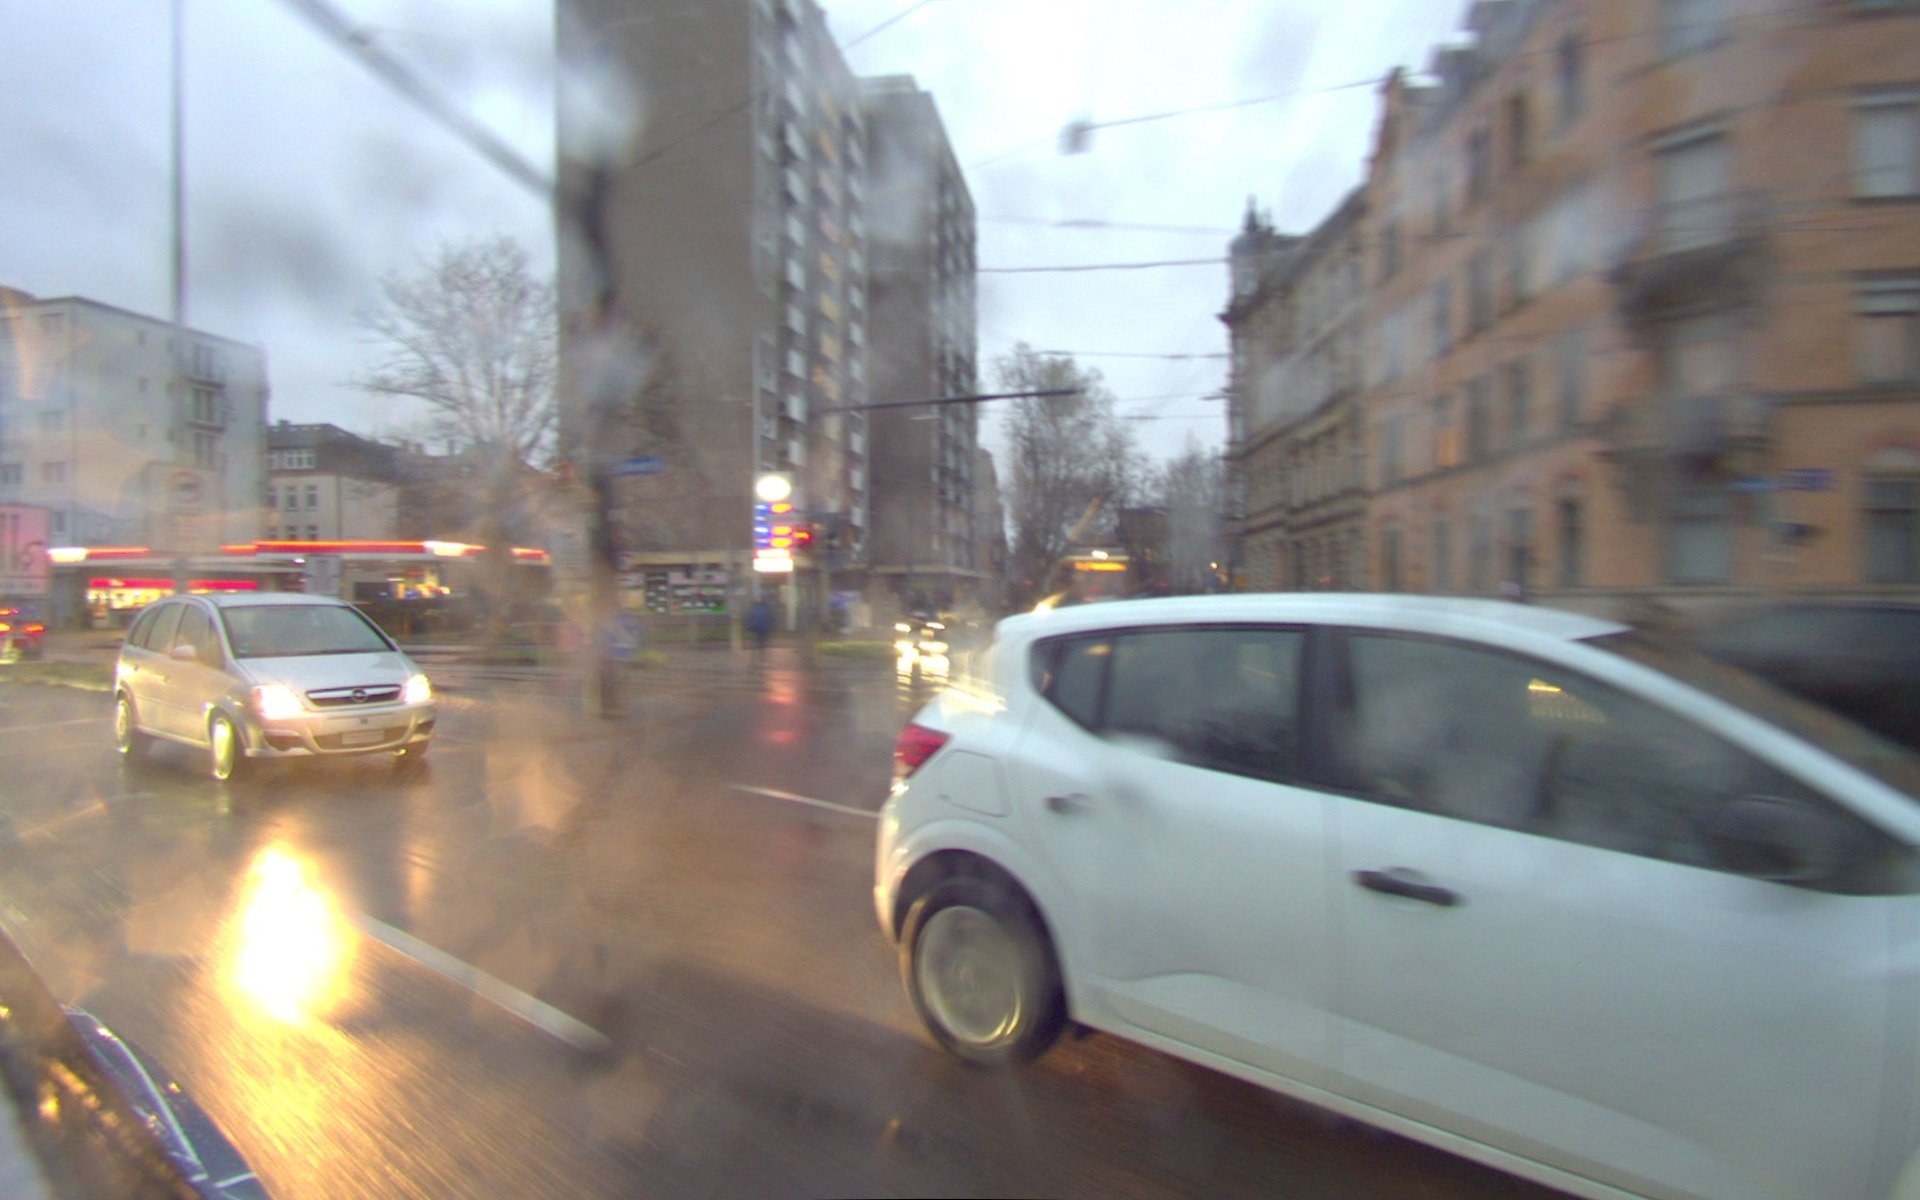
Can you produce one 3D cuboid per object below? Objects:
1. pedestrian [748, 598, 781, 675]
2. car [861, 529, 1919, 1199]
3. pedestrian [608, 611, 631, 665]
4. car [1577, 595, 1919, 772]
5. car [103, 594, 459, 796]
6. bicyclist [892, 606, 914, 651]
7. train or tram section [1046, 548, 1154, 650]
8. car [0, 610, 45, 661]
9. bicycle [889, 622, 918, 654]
[{"bbox_3d":[-4.566,0.839,23.673,0.627,1.785,0.463,0,0,35],"label":"pedestrian"},{"bbox_3d":[1.713,0.643,2.694,3.997,1.498,1.610,-2,-1,40],"label":"car"},{"bbox_3d":[-11.584,1.274,34.447,0.525,1.806,0.628,-1,0,1],"label":"pedestrian"},{"bbox_3d":[8.095,0.698,9.266,4.043,1.468,1.670,0,-1,28],"label":"car"},{"bbox_3d":[-6.618,0.743,9.707,4.103,1.560,1.630,0,0,38],"label":"car"},{"bbox_3d":[-1.806,0.883,32.012,0.498,1.401,0.972,-1,0,-14],"label":"bicyclist"},{"bbox_3d":[5.175,-0.145,40.525,3.128,3.212,16.290,-1,1,4],"label":"train or tram section"},{"bbox_3d":[-29.827,1.047,30.068,3.796,1.460,1.650,0,0,-1],"label":"car"},{"bbox_3d":[-1.802,1.187,32.017,0.498,0.907,1.990,-1,0,-14],"label":"bicycle"}]
